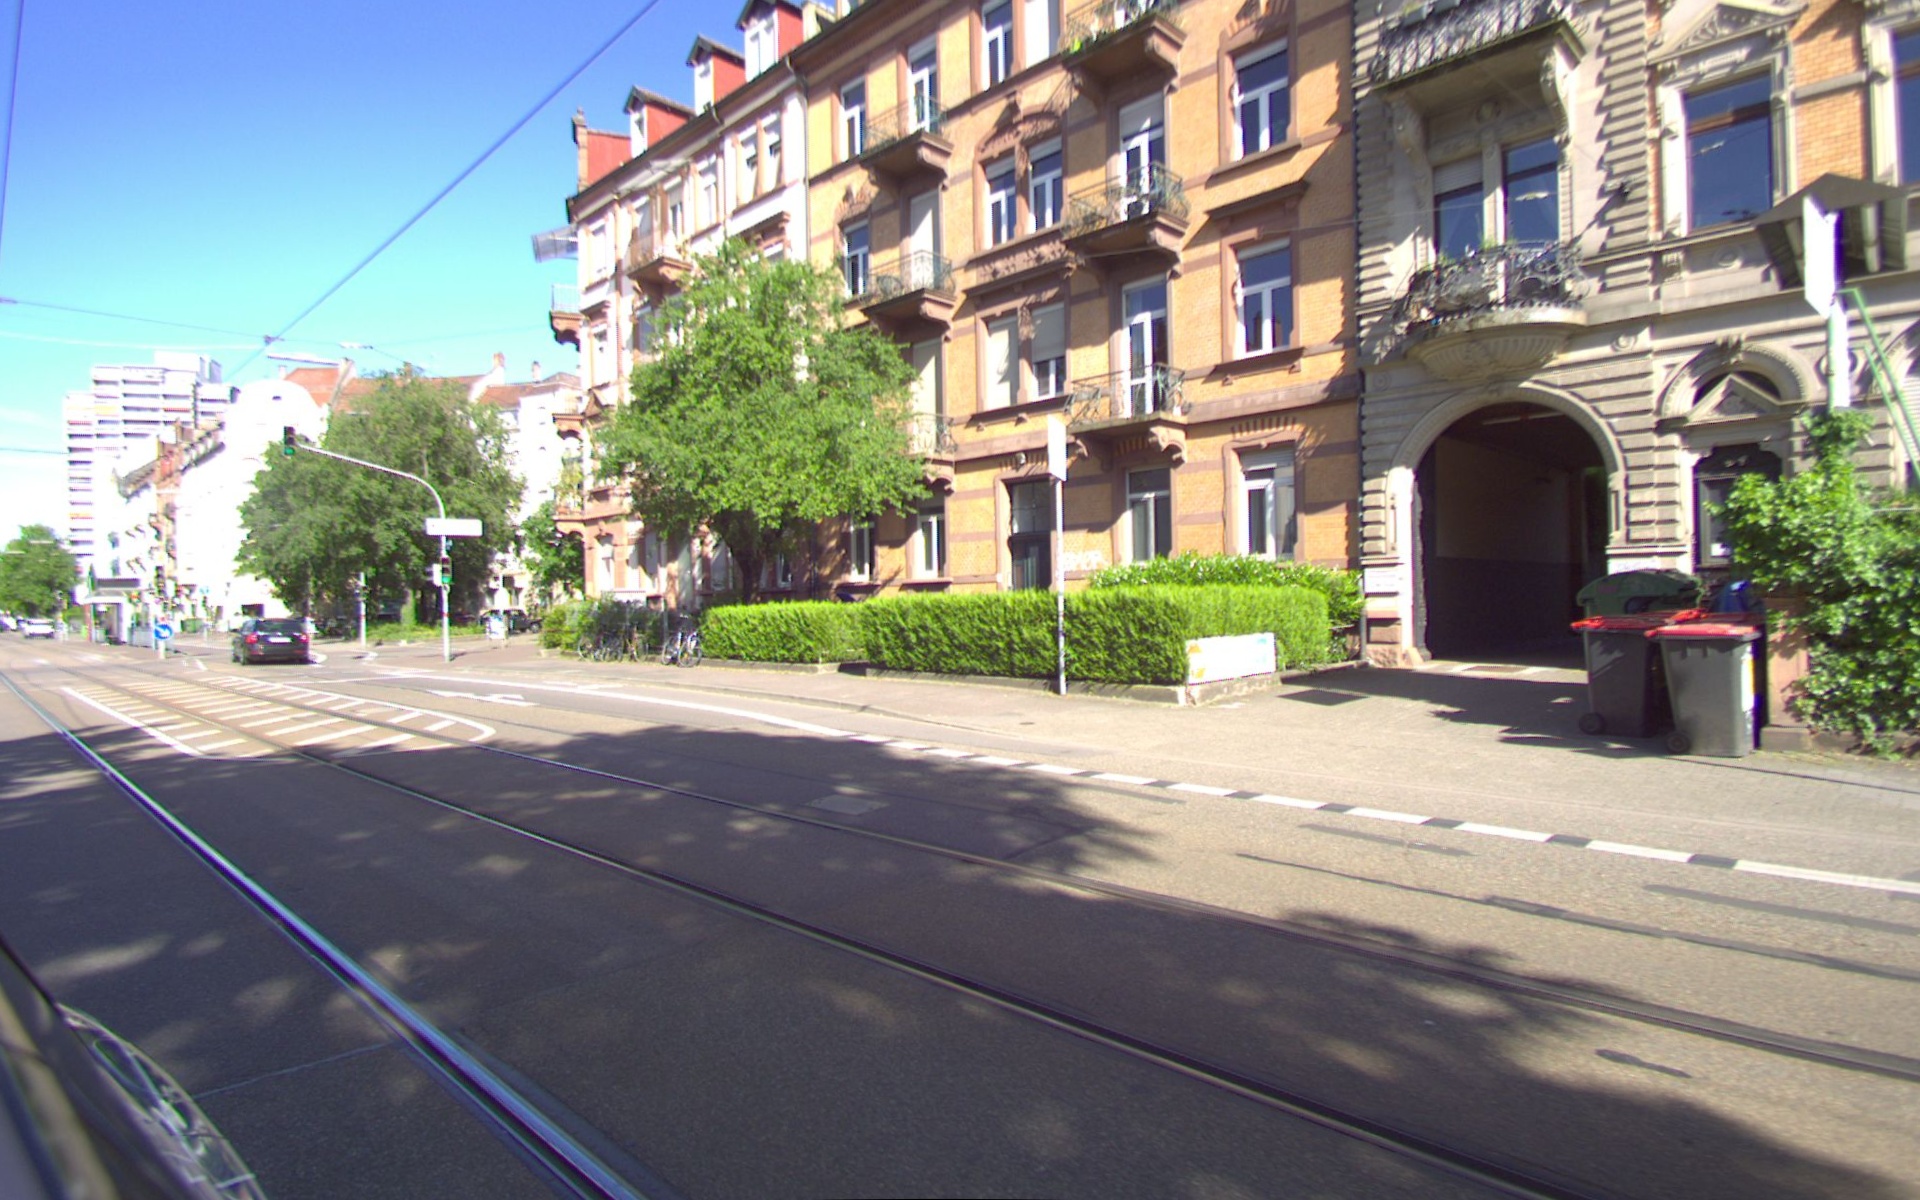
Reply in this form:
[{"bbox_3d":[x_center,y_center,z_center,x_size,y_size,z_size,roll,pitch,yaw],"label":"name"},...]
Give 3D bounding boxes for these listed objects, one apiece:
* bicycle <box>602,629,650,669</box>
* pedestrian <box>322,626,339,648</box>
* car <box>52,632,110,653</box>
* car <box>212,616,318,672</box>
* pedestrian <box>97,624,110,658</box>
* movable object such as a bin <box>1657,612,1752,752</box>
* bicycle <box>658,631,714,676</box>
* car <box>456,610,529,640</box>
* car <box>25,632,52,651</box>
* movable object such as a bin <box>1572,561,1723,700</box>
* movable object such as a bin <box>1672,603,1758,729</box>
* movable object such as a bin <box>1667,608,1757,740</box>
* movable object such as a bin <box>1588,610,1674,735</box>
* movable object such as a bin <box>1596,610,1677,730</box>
[{"bbox_3d":[-8.126,1.170,24.594,0.337,0.933,1.945,-3,1,-41],"label":"bicycle"},{"bbox_3d":[-38.977,2.274,62.659,0.724,1.291,0.650,-2,0,45],"label":"pedestrian"},{"bbox_3d":[-82.604,3.972,95.165,1.817,1.600,3.836,3,4,39],"label":"car"},{"bbox_3d":[-22.001,1.361,31.961,4.969,1.529,1.811,-2,1,45],"label":"car"},{"bbox_3d":[-45.681,2.173,53.961,0.673,1.798,0.460,-2,-1,43],"label":"pedestrian"},{"bbox_3d":[6.207,0.663,8.440,0.473,1.094,0.541,-3,0,-44],"label":"movable object such as a bin"},{"bbox_3d":[-5.969,1.141,21.976,0.337,0.933,1.945,-3,1,-41],"label":"bicycle"},{"bbox_3d":[-30.270,1.608,65.524,3.965,1.709,1.693,-3,1,-38],"label":"car"},{"bbox_3d":[-80.891,3.623,88.862,1.670,1.551,3.803,-3,0,-42],"label":"car"},{"bbox_3d":[7.896,0.320,11.619,1.304,1.458,1.171,-3,1,-44],"label":"movable object such as a bin"},{"bbox_3d":[6.962,0.594,9.336,0.473,1.094,0.541,-3,0,-44],"label":"movable object such as a bin"},{"bbox_3d":[6.613,0.633,8.901,0.473,1.094,0.541,-3,0,-44],"label":"movable object such as a bin"},{"bbox_3d":[6.184,0.652,9.333,0.473,1.094,0.541,-3,0,-44],"label":"movable object such as a bin"},{"bbox_3d":[6.526,0.661,9.764,0.473,1.094,0.541,-3,0,-44],"label":"movable object such as a bin"}]
